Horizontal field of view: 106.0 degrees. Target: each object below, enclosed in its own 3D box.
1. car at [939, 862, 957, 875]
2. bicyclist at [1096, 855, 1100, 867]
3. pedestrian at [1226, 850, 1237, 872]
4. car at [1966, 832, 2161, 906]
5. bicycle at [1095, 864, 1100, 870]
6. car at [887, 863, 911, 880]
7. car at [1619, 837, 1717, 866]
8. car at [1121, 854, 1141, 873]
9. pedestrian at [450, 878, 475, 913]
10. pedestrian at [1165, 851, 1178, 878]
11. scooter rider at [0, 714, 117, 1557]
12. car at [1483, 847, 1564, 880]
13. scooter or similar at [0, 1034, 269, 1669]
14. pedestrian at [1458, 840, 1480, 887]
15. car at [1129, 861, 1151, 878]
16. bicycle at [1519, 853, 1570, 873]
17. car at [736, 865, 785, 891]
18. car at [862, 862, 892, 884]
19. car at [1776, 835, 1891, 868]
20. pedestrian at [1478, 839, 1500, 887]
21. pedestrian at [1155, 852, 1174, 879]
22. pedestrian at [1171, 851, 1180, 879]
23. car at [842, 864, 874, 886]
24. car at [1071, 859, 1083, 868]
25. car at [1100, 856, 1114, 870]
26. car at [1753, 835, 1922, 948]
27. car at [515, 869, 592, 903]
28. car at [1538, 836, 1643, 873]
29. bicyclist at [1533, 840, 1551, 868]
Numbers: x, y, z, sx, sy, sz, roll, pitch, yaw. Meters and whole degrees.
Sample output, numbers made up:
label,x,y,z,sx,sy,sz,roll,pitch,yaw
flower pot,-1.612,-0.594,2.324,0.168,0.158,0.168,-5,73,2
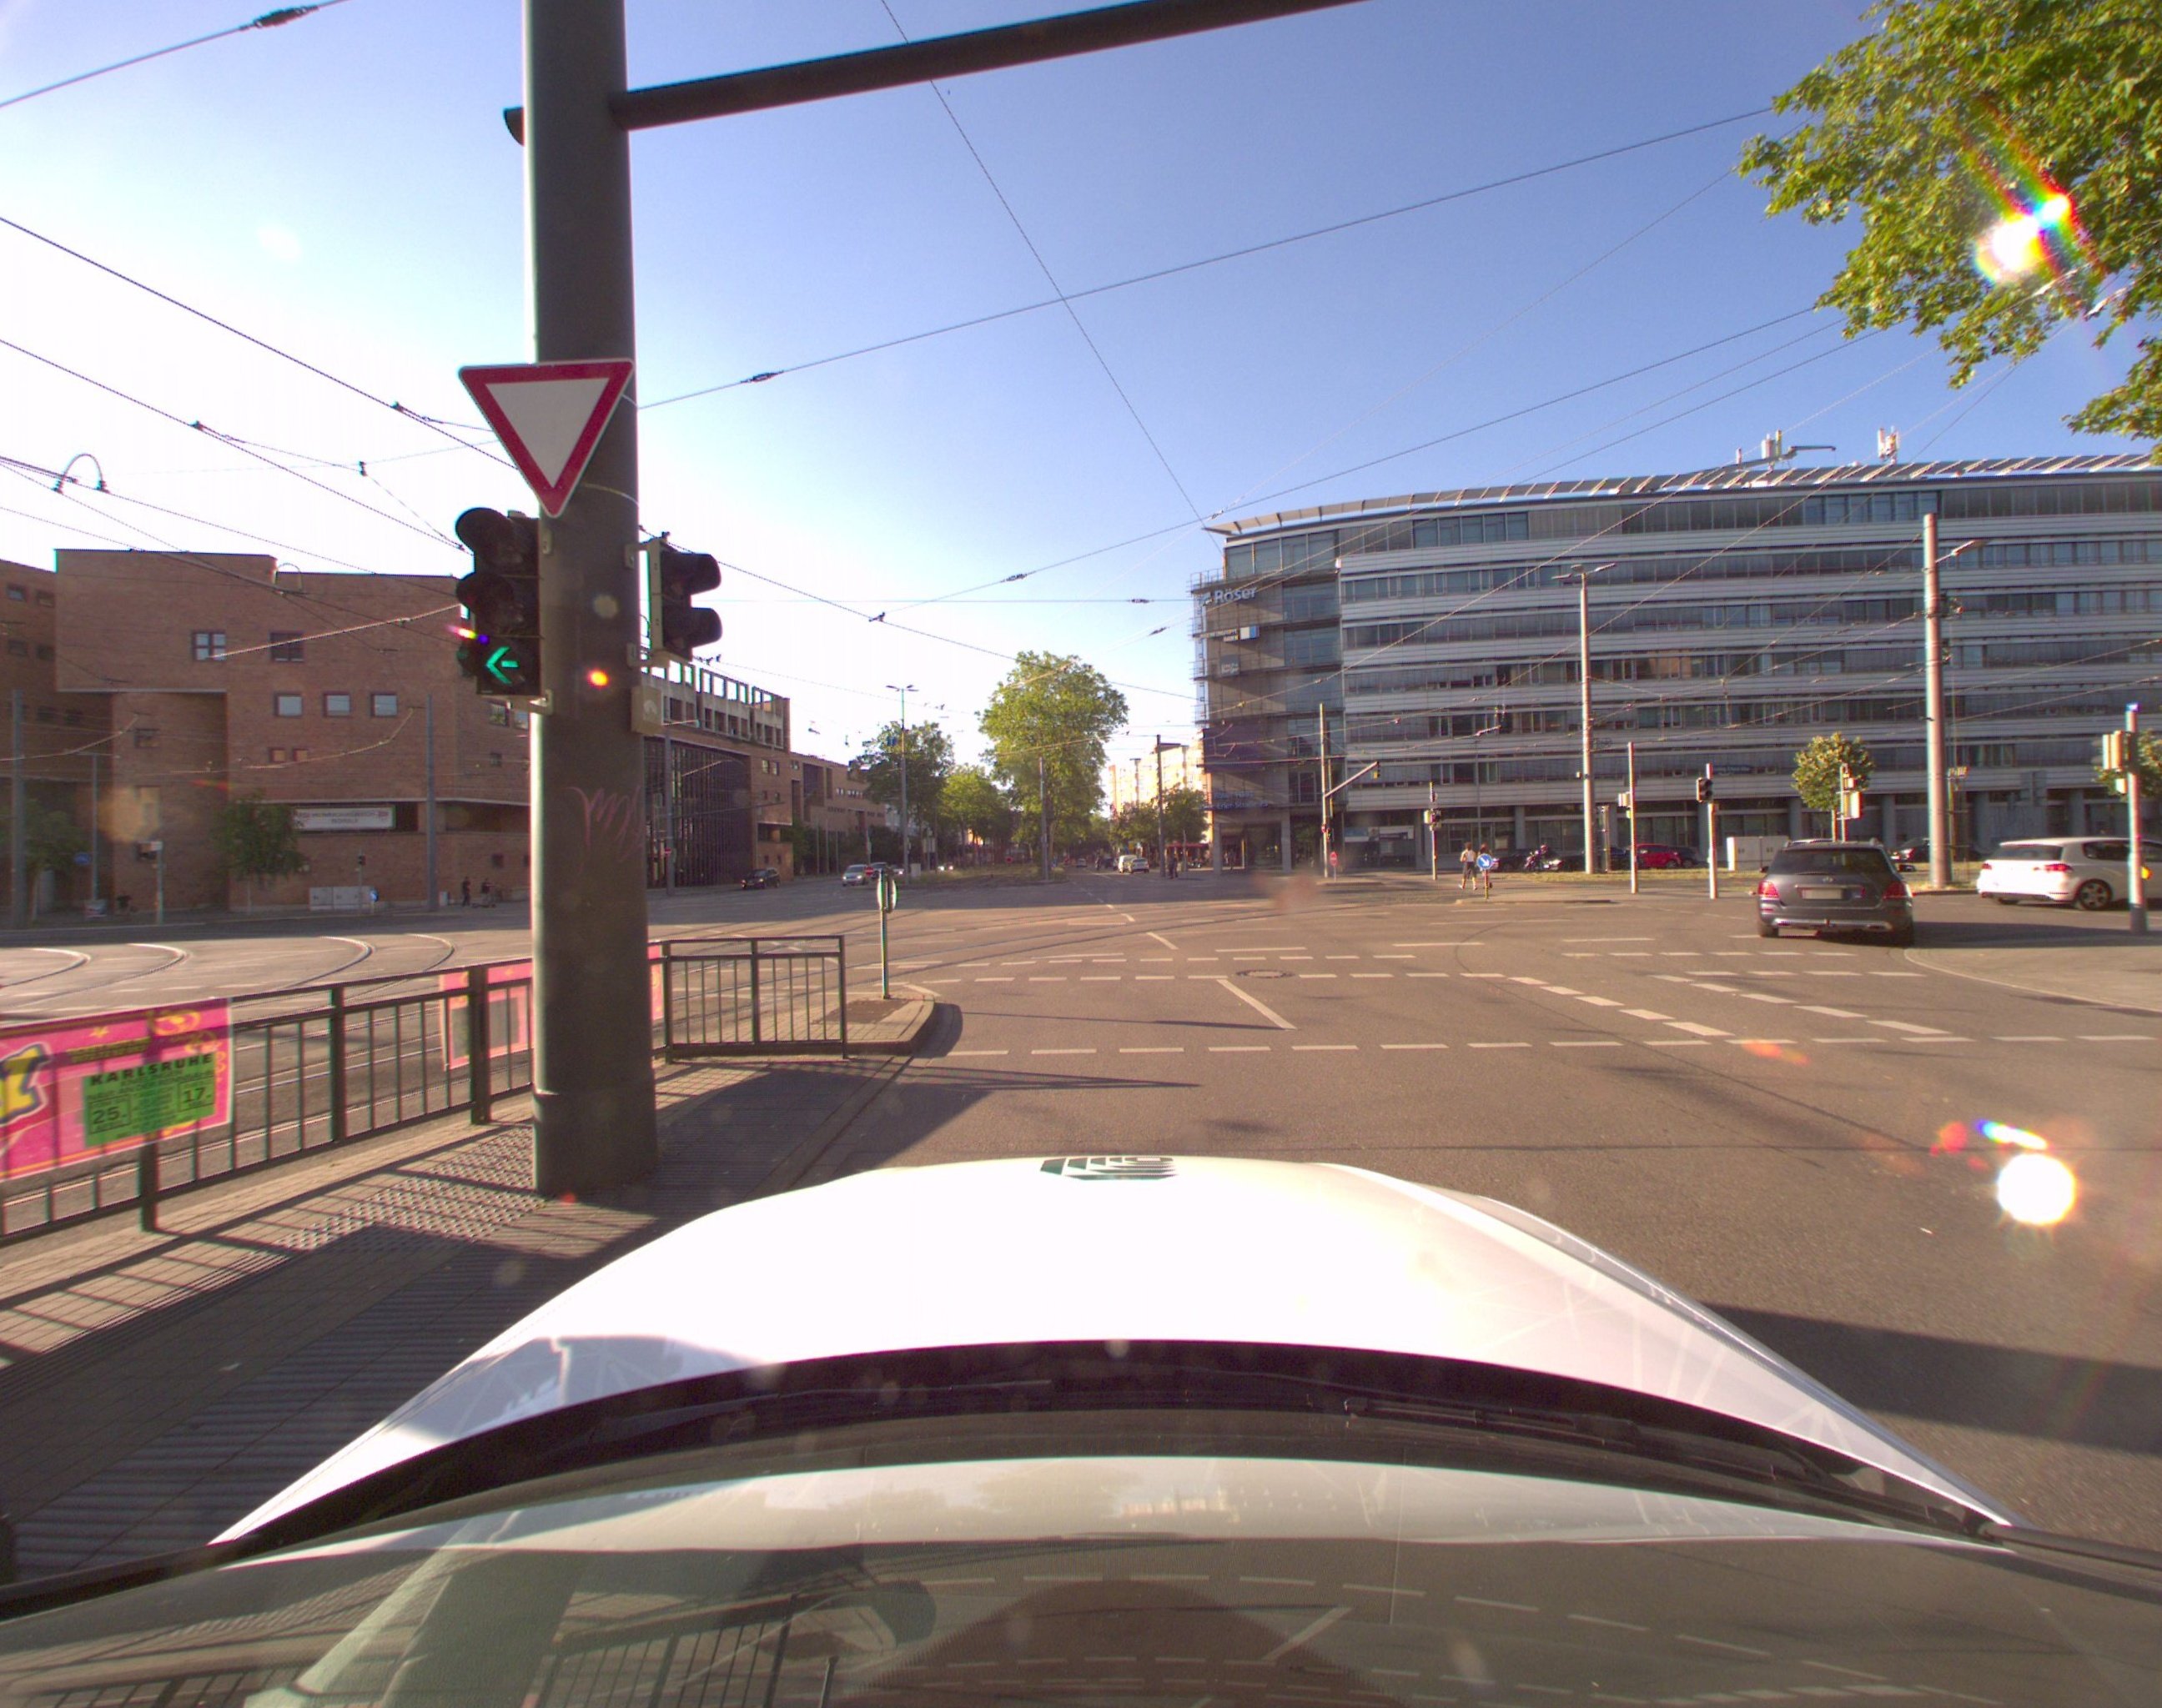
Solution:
label,x,y,z,sx,sy,sz,roll,pitch,yaw
car,-19.844,2.132,121.790,1.837,1.783,4.002,-2,0,2
bicyclist,1.965,0.833,95.657,0.485,1.439,0.616,1,0,2
pedestrian,13.546,0.624,73.189,0.866,2.014,0.794,0,-2,2
car,21.276,0.287,16.882,3.956,1.428,1.642,-1,0,3
bicycle,1.960,1.517,95.666,0.489,0.788,1.862,-1,-1,2
car,-17.824,1.694,79.786,1.673,1.607,3.994,0,-1,-4
car,32.190,-0.131,44.739,3.966,1.552,1.800,0,-1,7
car,5.220,1.024,85.894,1.986,2.014,4.002,0,-1,2
pedestrian,-34.868,2.330,45.907,0.720,1.902,0.875,0,-1,-1
pedestrian,6.731,0.805,60.627,0.846,2.014,0.707,0,-1,-1
scooter rider,-2.693,0.617,1.681,0.563,1.853,0.681,-2,-2,7
car,27.536,0.602,50.738,3.971,2.014,2.001,0,-1,2
scooter or similar,-2.610,0.999,1.707,1.196,1.081,0.649,-2,-1,6
pedestrian,14.820,0.360,31.093,0.671,1.759,0.746,-2,-1,27
car,5.703,1.525,79.246,2.022,1.596,4.002,0,-1,2
bicycle,25.741,0.501,45.271,2.397,1.022,0.638,-2,-1,6
car,-26.353,1.949,67.065,1.867,2.013,4.477,-2,0,5
car,-17.884,1.645,71.618,1.819,1.790,3.994,-2,0,-4
car,38.162,-0.123,41.408,3.967,1.596,1.884,0,-1,5
pedestrian,15.431,0.336,30.806,0.677,1.759,0.746,-2,-1,28
pedestrian,6.302,0.876,61.763,1.337,1.950,1.012,-2,-1,2
pedestrian,6.906,0.798,59.527,0.584,2.014,0.620,0,-1,2
car,-17.639,1.641,64.518,1.618,1.577,3.994,-2,0,-4
car,-0.619,1.621,139.556,1.740,1.418,4.005,-1,0,4
car,3.947,1.334,123.184,1.986,2.014,4.002,0,-1,2
car,12.831,0.553,14.063,1.747,1.636,4.277,-1,-1,38
car,-34.719,2.076,53.729,1.983,2.013,4.200,-2,0,6
car,26.511,0.029,42.506,4.234,1.723,1.886,-2,-1,4
bicyclist,25.650,0.007,45.295,0.660,1.503,0.614,-2,-1,7
